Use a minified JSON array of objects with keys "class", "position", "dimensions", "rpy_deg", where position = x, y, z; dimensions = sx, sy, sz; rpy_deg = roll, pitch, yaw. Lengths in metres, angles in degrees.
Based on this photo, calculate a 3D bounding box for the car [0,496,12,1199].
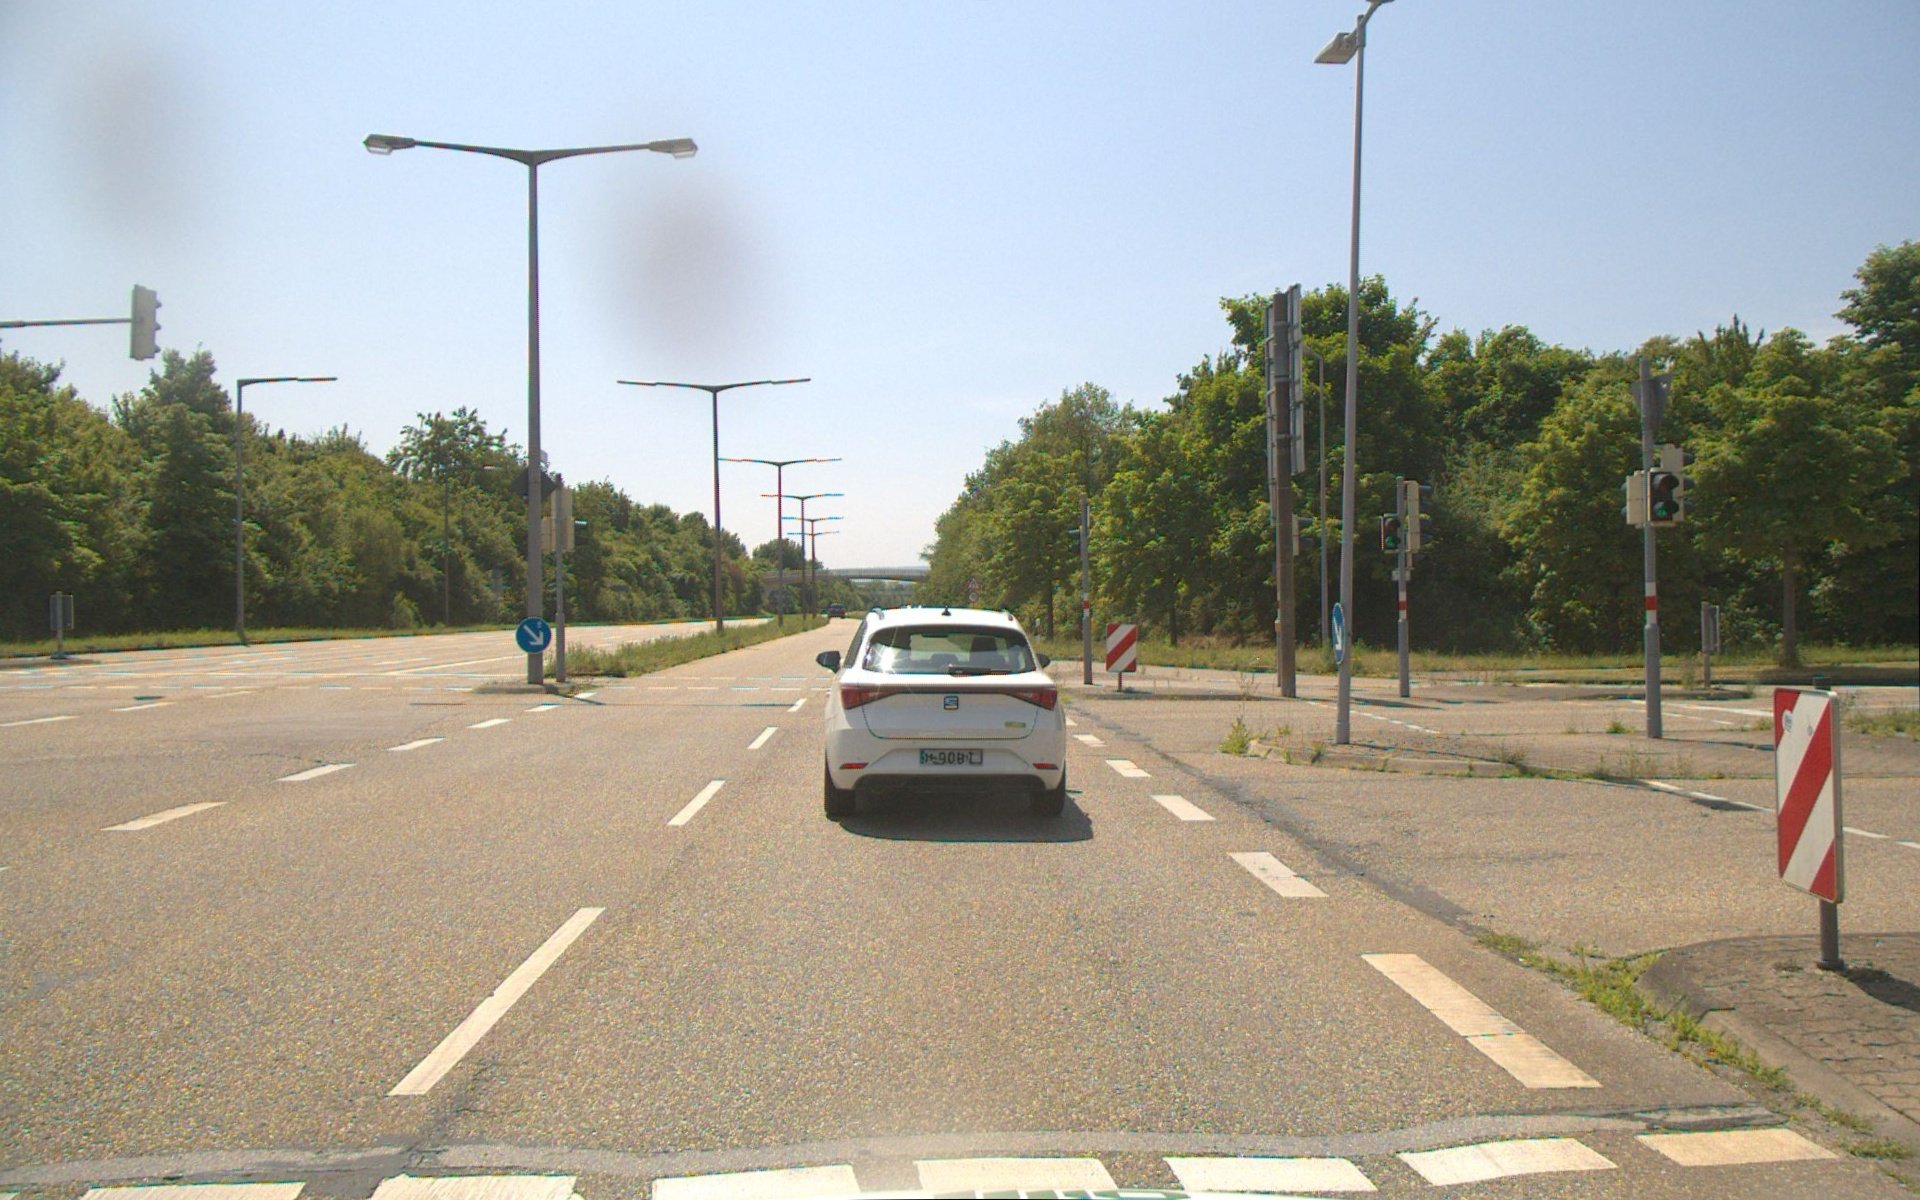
[{"class":"car","position":[-2.992,0.602,1.440],"dimensions":[1.767,1.691,4.642],"rpy_deg":[0,0,-2]}]

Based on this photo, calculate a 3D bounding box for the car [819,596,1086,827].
[{"class":"car","position":[-0.098,0.748,12.513],"dimensions":[1.699,1.453,3.693],"rpy_deg":[1,-1,-2]}]

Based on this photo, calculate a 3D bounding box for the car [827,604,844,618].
[{"class":"car","position":[-15.561,1.370,207.076],"dimensions":[1.817,1.739,4.000],"rpy_deg":[-1,0,0]}]
